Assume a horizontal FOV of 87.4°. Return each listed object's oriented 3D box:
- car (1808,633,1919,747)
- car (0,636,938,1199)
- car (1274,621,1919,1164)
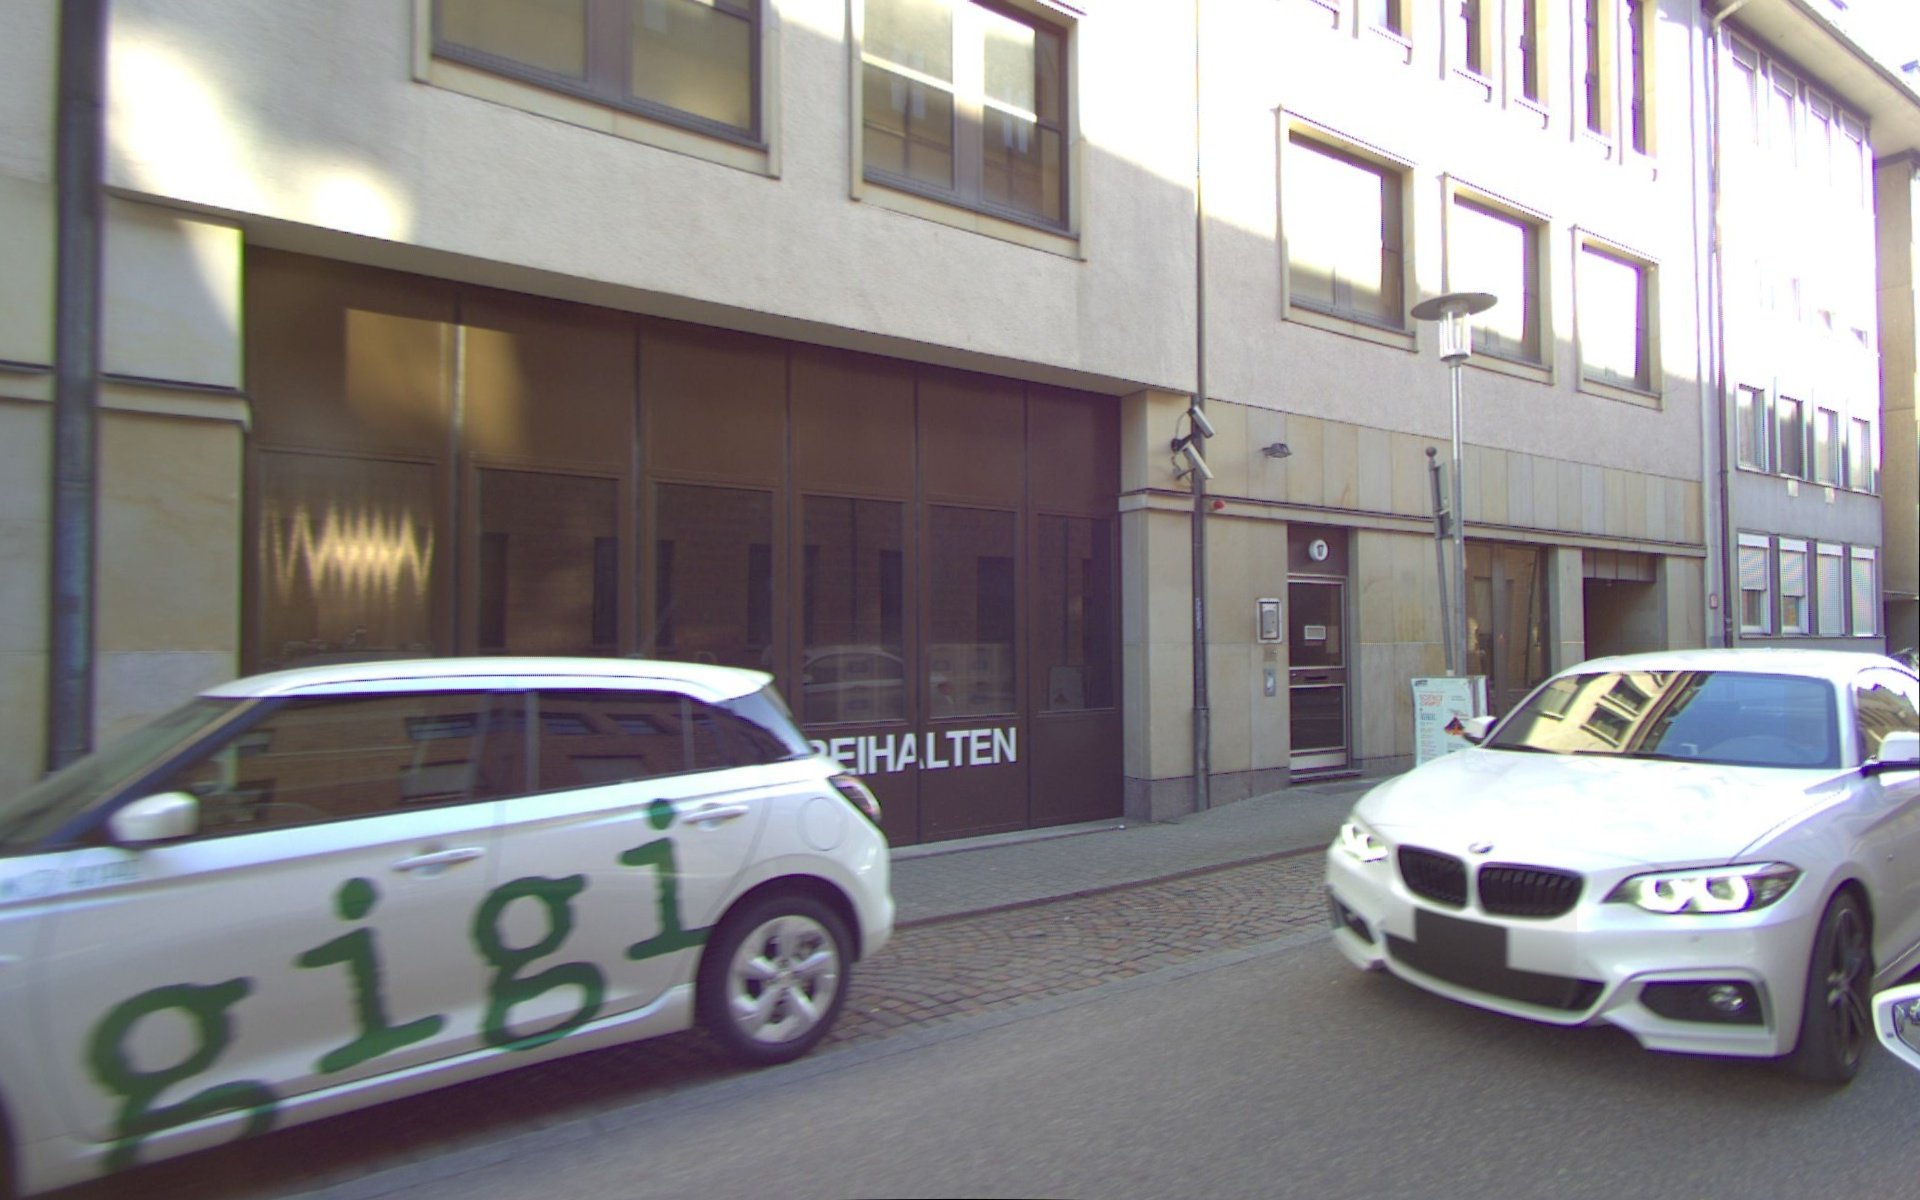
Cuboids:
[{"bbox_3d":[14.848,1.275,15.162,4.679,1.550,1.879,1,-3,-34],"label":"car"},{"bbox_3d":[-2.092,0.945,3.597,3.739,1.541,1.659,1,-5,-36],"label":"car"},{"bbox_3d":[3.518,0.901,4.763,4.118,1.537,1.704,1,-3,-35],"label":"car"}]
